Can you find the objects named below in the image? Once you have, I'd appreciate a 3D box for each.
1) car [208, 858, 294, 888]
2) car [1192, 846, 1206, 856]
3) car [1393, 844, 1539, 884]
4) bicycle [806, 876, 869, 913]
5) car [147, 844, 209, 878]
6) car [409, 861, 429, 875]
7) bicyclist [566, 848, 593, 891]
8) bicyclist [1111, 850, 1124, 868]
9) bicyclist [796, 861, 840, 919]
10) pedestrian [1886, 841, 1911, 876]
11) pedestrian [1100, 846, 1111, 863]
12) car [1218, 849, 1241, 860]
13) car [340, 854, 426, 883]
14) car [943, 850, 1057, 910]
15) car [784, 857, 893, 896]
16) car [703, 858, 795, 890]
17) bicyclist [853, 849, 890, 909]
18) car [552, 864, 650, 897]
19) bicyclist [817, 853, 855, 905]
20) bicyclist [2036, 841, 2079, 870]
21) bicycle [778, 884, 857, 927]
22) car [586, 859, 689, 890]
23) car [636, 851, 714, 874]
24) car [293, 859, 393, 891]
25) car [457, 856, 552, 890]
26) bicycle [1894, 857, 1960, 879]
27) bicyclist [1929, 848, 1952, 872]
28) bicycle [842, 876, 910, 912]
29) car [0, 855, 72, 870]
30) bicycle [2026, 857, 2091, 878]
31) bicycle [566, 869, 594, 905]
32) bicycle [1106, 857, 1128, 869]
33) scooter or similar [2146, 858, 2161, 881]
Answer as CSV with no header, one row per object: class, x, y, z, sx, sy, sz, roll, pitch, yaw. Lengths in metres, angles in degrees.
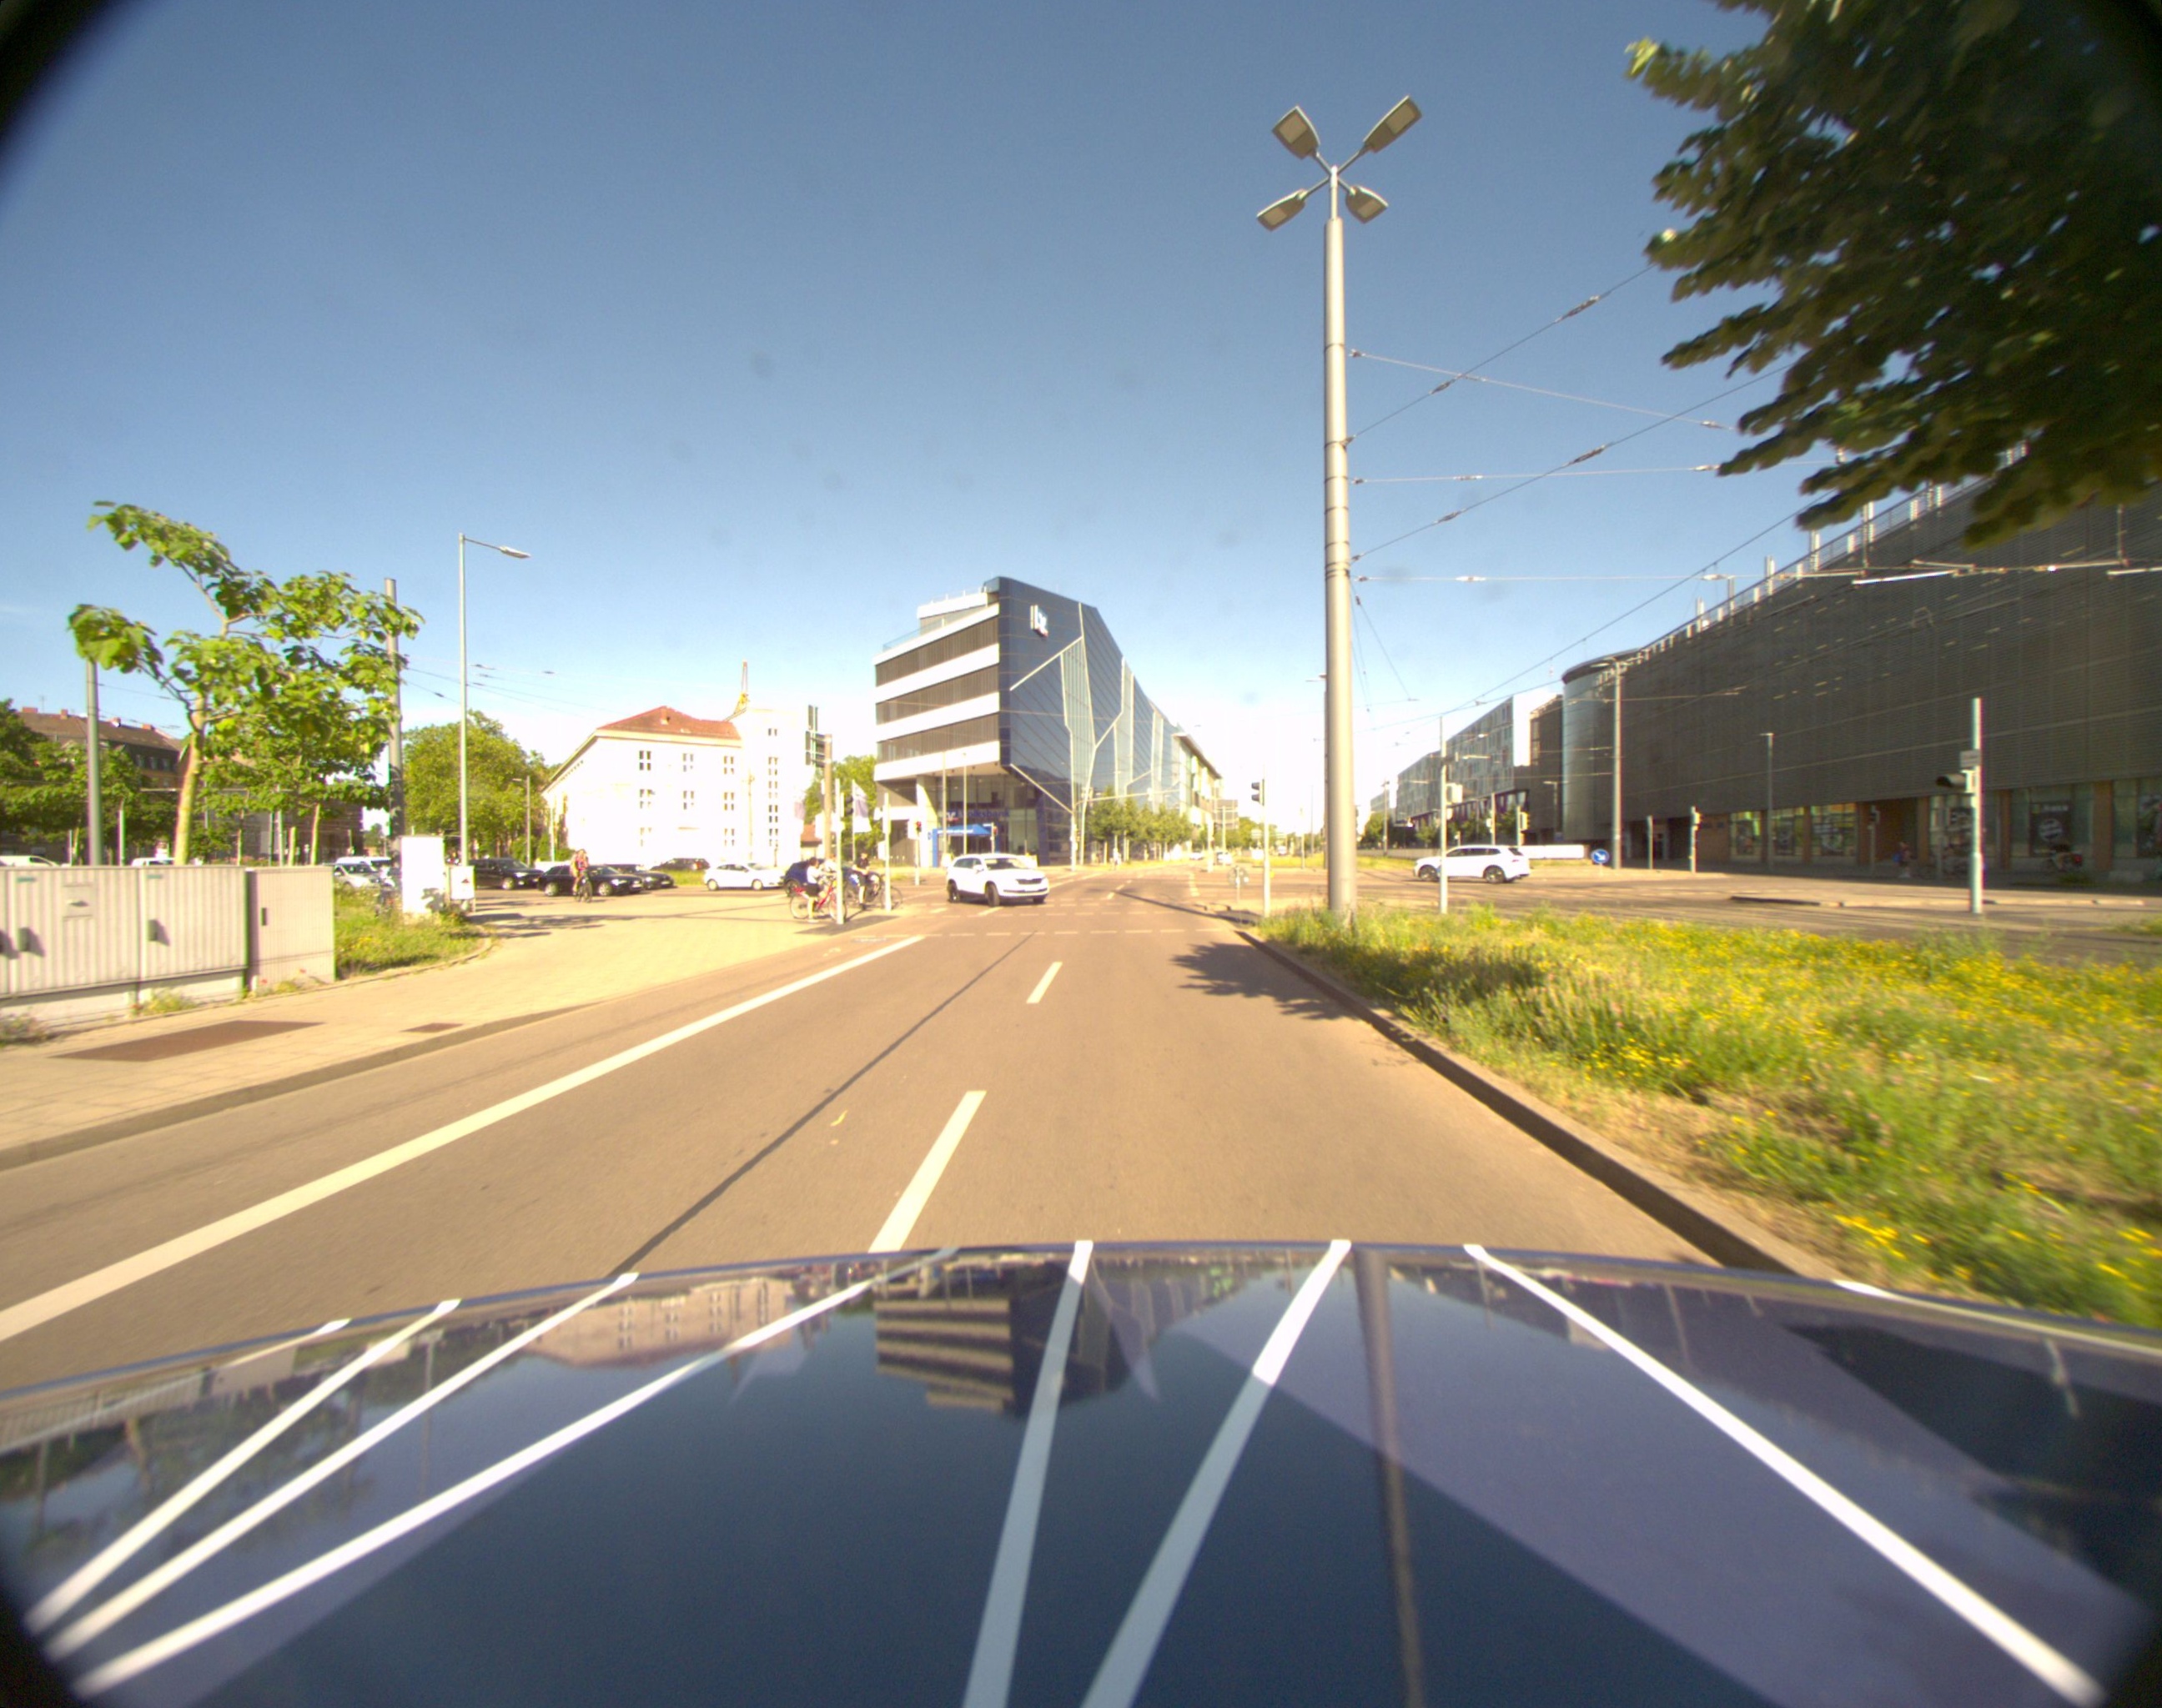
car,-45.176,0.998,41.353,3.990,1.547,1.878,0,1,23
car,20.467,-0.564,131.446,1.996,1.718,4.004,0,1,15
car,17.002,0.403,33.831,1.817,1.642,5.530,-1,1,-43
bicycle,-7.928,1.298,24.735,2.006,1.098,0.698,2,-1,28
car,-54.635,0.410,45.960,4.641,1.970,1.878,0,1,34
car,-87.333,1.767,100.256,1.774,1.740,3.989,-1,1,-39
bicyclist,-16.616,0.512,25.192,0.698,1.369,0.736,2,0,-35
bicyclist,2.863,0.359,59.605,0.760,1.402,0.773,0,1,25
bicyclist,-6.468,0.864,18.697,0.826,1.395,0.590,1,0,13
pedestrian,41.134,0.244,38.245,0.589,1.741,0.625,-1,1,-5
pedestrian,2.292,0.079,70.402,0.855,1.547,0.614,0,1,19
car,14.694,0.032,75.107,1.996,1.084,4.004,0,1,15
car,-40.138,0.814,43.713,3.991,1.547,1.877,0,1,18
car,-2.751,0.751,24.908,1.878,1.621,4.326,-3,3,-34
car,-10.117,0.912,31.741,3.991,1.547,1.877,0,1,20
car,-16.204,0.971,37.146,3.829,1.423,1.670,0,4,13
bicyclist,-6.424,0.764,23.314,0.905,1.788,0.550,1,0,8
car,-21.924,1.195,34.752,3.830,1.425,1.588,0,1,16
bicyclist,-7.990,0.812,24.775,1.001,1.645,0.596,2,1,28
bicyclist,44.837,0.065,34.890,0.681,1.310,1.040,0,1,12
bicycle,-6.460,1.252,18.658,1.704,0.948,0.697,1,0,13
car,-22.568,1.018,38.696,4.475,1.423,1.843,0,2,14
car,-28.389,0.586,53.206,4.308,1.491,1.999,-1,1,-4
car,-37.445,1.045,38.591,3.992,1.547,1.877,0,1,16
car,-30.564,0.961,40.304,4.318,1.675,1.771,0,2,18
bicycle,40.294,0.646,36.211,0.560,0.980,2.018,-1,1,-20
bicyclist,40.439,0.278,35.751,0.560,1.133,0.562,-1,1,-20
bicycle,-6.278,1.206,23.294,1.893,1.032,0.607,1,0,8
car,-96.937,0.774,69.943,1.996,1.203,4.405,0,1,15
bicycle,44.847,0.610,34.894,0.681,0.862,2.050,0,1,12
bicycle,-16.535,1.070,25.049,0.698,1.098,2.006,2,-1,-35
bicycle,2.866,0.696,59.636,0.768,0.835,2.572,0,1,25
scooter or similar,40.335,0.571,28.118,0.301,0.846,1.228,0,1,11
